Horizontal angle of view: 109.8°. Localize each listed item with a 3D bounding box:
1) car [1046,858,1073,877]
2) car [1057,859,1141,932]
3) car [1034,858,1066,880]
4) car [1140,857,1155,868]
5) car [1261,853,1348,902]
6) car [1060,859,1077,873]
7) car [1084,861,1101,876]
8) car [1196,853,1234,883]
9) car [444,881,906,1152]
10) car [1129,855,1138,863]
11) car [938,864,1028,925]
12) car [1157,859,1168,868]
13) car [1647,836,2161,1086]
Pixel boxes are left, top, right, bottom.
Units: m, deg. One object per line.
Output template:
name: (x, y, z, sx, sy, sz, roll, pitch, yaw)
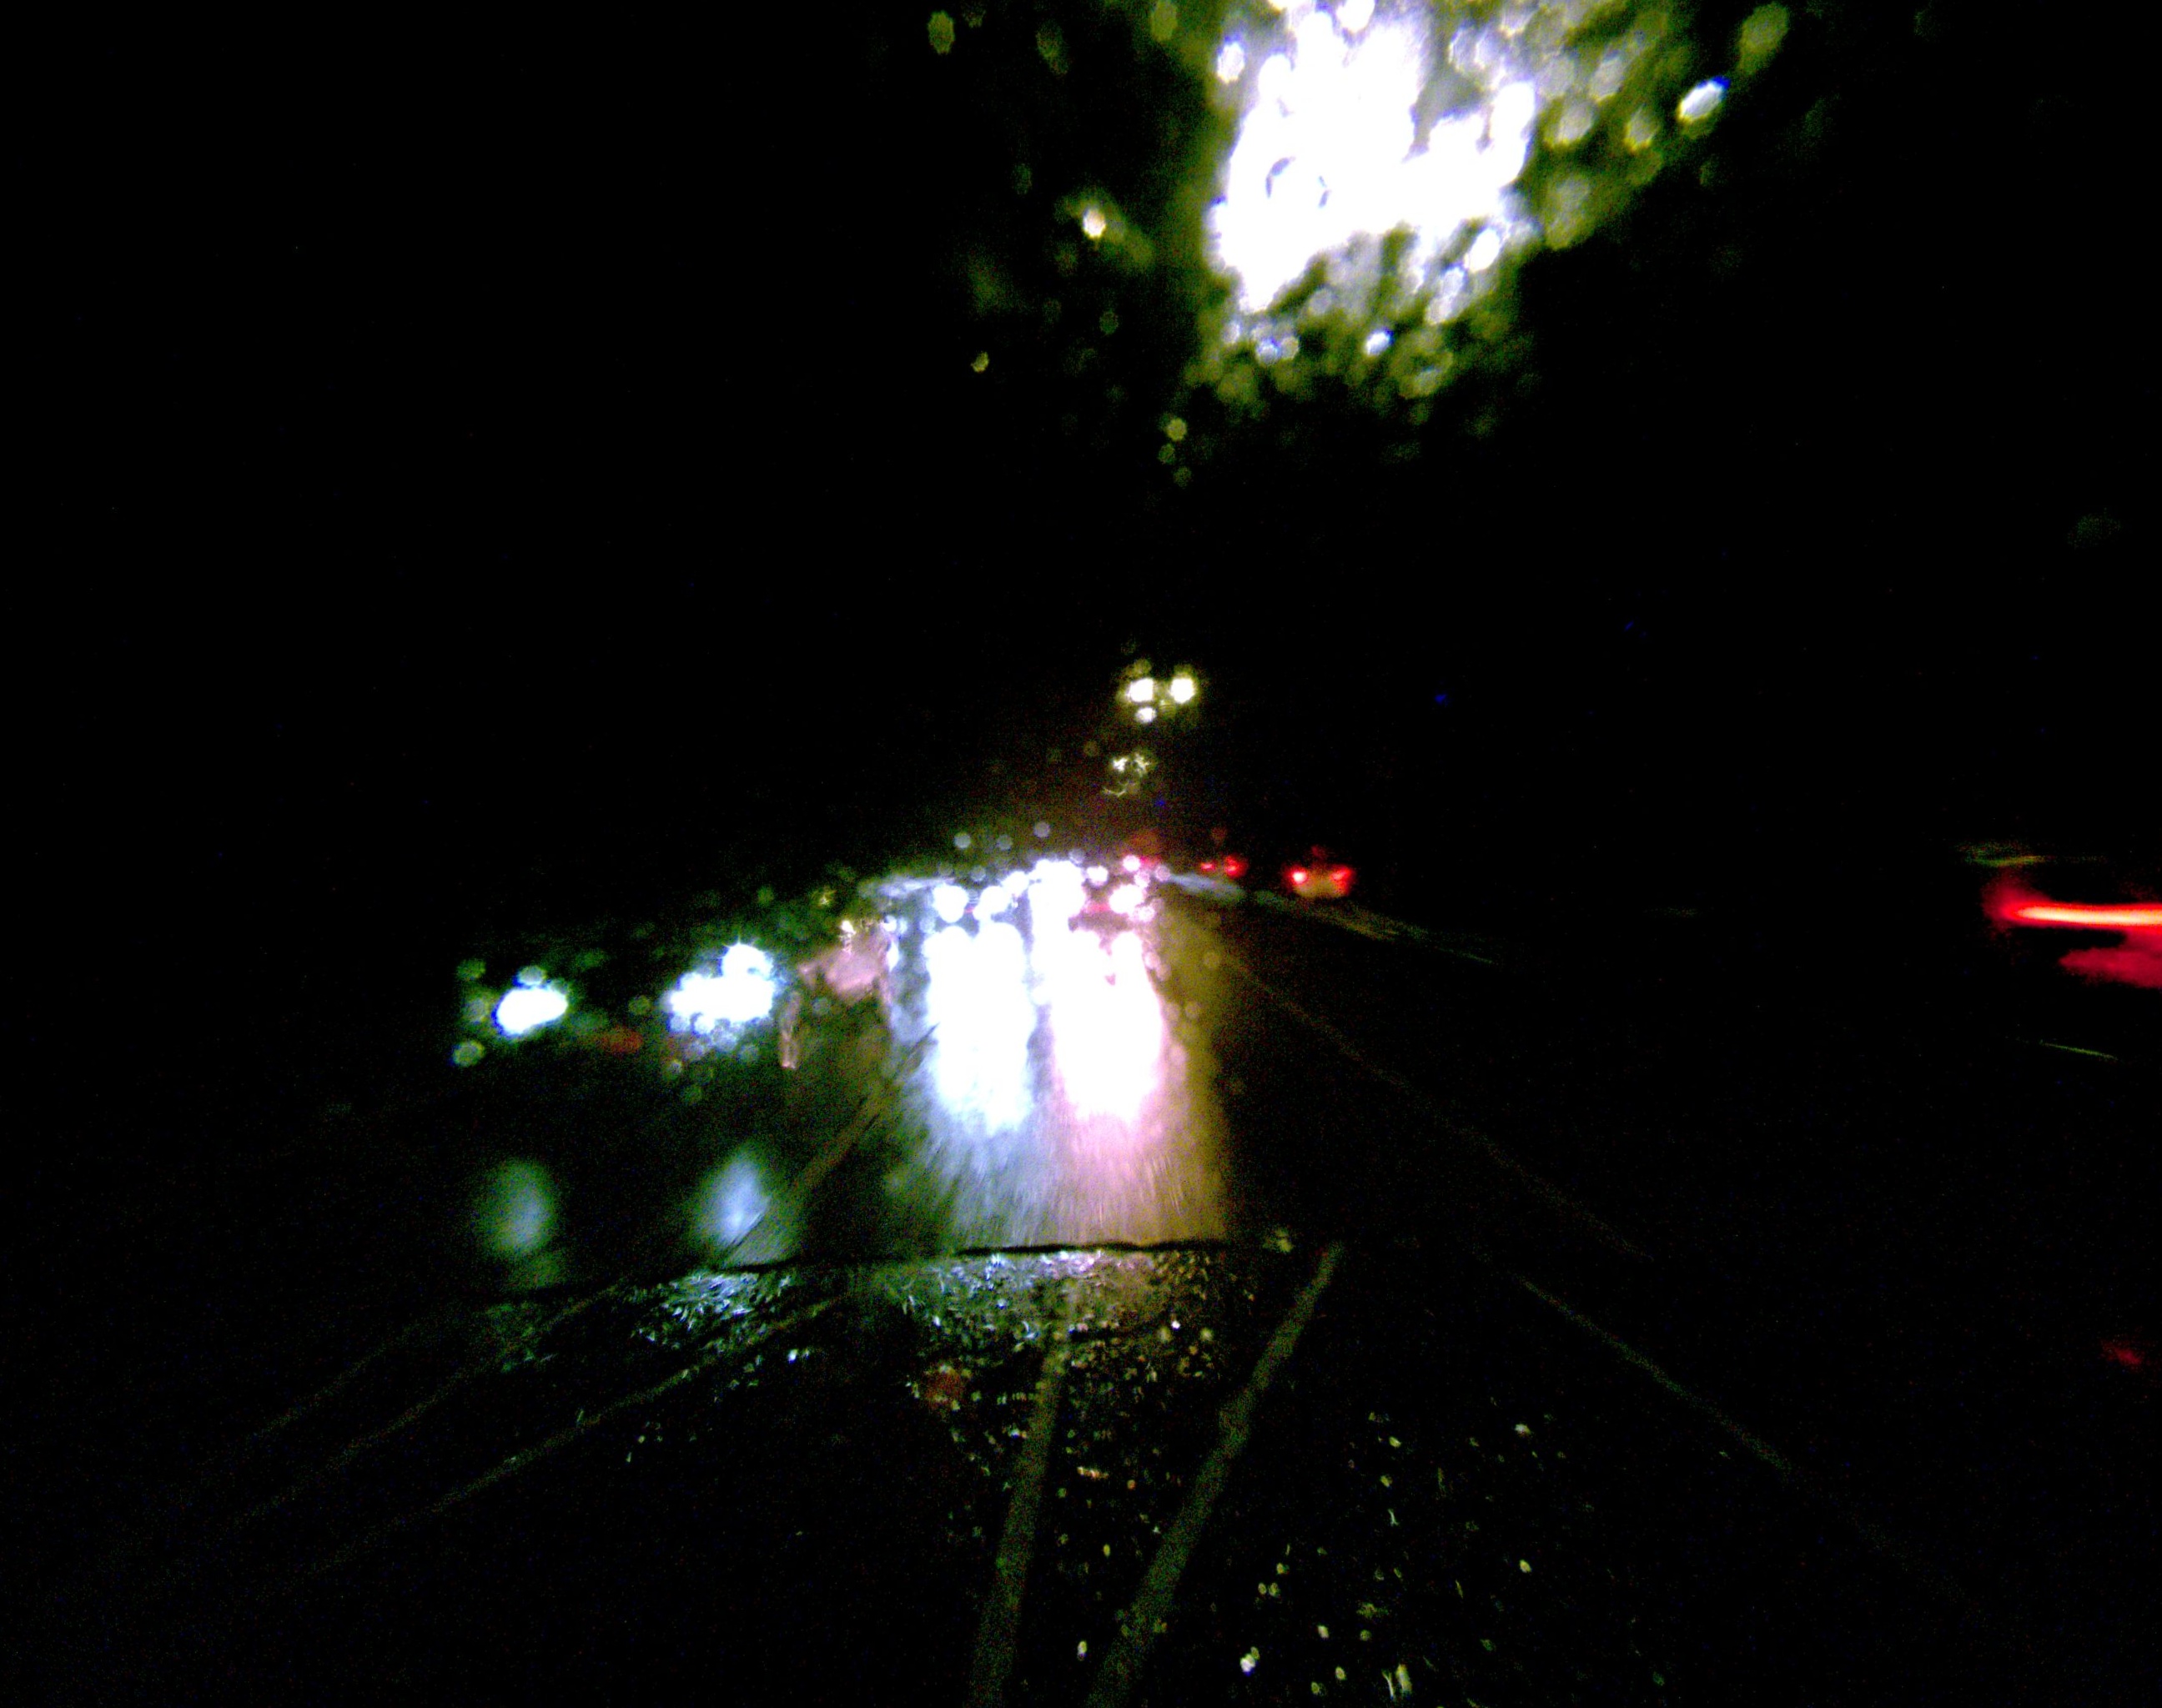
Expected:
car: (-1.745, 1.095, 63.430, 1.998, 1.531, 4.000, -2, 0, 1)
car: (0.447, 0.917, 18.490, 1.764, 1.492, 4.000, -2, 0, 1)
car: (-2.152, 1.038, 54.167, 1.998, 1.455, 4.000, -2, 0, 1)
car: (9.721, 1.272, 111.542, 1.860, 1.467, 4.779, -1, 0, 1)
car: (7.685, 0.750, 26.517, 1.572, 1.533, 4.160, 2, 0, -3)
car: (-1.623, 1.517, 97.527, 1.998, 1.657, 4.000, -1, 0, 0)
car: (1.514, 1.833, 98.220, 1.999, 1.774, 3.999, -3, 1, -1)
car: (7.834, 0.798, 44.627, 1.624, 1.641, 4.000, 0, 0, 2)
car: (-3.056, 1.092, 7.071, 1.736, 1.440, 4.724, -3, 0, -1)
car: (10.423, 0.988, 151.529, 1.614, 1.373, 4.746, -2, 0, 1)
car: (-2.685, 1.071, 21.809, 1.826, 1.476, 4.568, -2, 0, 1)
car: (14.326, 1.662, 133.652, 1.614, 1.373, 4.164, 0, 0, 1)
car: (7.528, 0.717, 6.780, 1.814, 1.559, 3.999, 2, 0, -2)
